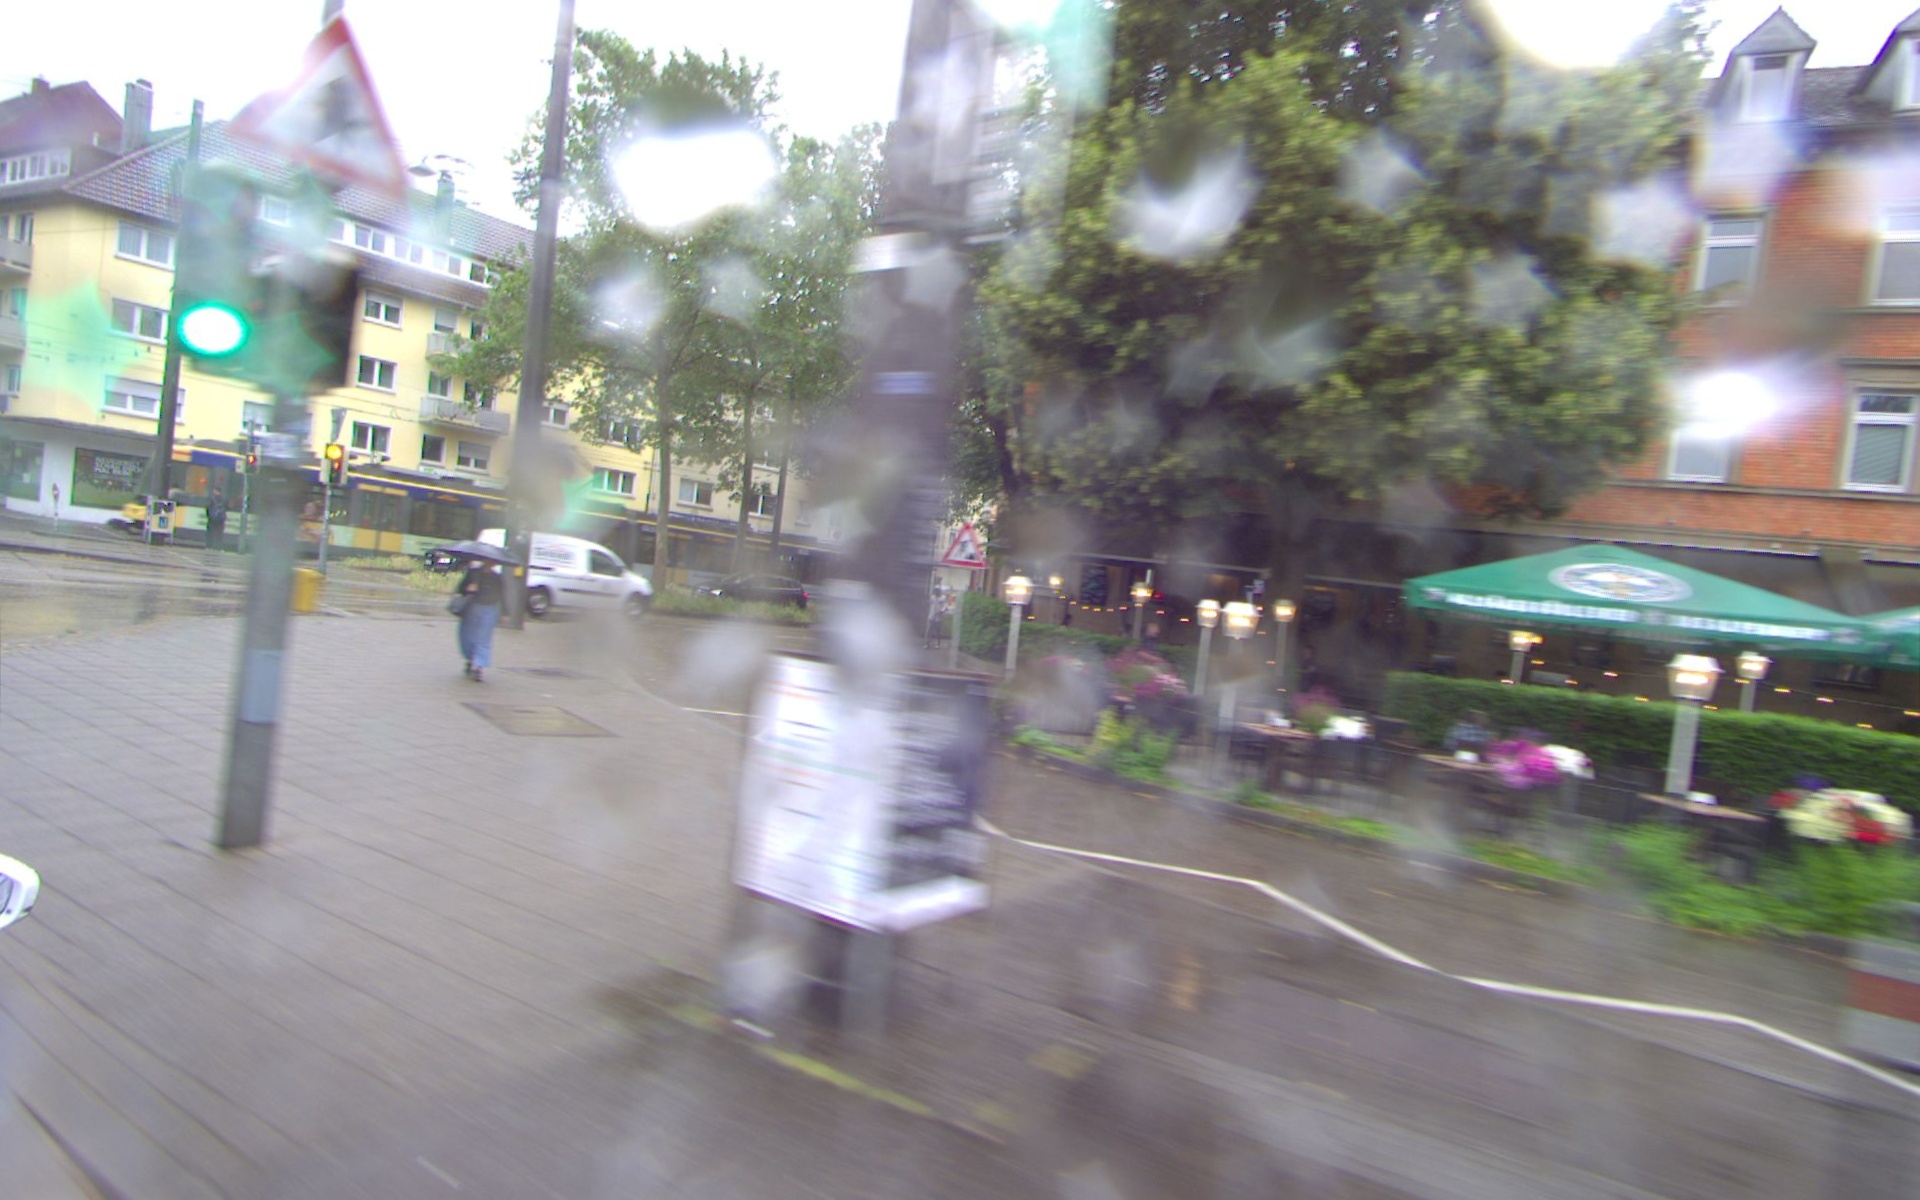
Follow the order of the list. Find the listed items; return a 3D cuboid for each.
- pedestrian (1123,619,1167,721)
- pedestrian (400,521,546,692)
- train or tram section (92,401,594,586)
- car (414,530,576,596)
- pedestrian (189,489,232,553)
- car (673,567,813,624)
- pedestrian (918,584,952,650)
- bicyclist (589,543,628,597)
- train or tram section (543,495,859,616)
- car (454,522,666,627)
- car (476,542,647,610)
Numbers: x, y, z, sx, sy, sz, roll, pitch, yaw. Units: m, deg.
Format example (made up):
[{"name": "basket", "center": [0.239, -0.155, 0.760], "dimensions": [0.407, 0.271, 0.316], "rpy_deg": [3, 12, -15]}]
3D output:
[{"name": "pedestrian", "center": [3.126, 1.168, 16.972], "dimensions": [0.382, 1.667, 0.549], "rpy_deg": [8, 3, 30]}, {"name": "pedestrian", "center": [-5.402, 0.069, 11.246], "dimensions": [1.088, 1.687, 0.995], "rpy_deg": [8, 1, -13]}, {"name": "train or tram section", "center": [-20.432, -3.242, 35.164], "dimensions": [3.071, 3.600, 14.523], "rpy_deg": [7, -1, 40]}, {"name": "car", "center": [-14.795, -1.146, 32.189], "dimensions": [1.851, 1.521, 4.267], "rpy_deg": [8, 1, 38]}, {"name": "pedestrian", "center": [-21.729, -2.286, 29.179], "dimensions": [0.807, 1.698, 1.007], "rpy_deg": [6, 1, -34]}, {"name": "car", "center": [-7.747, -0.126, 36.229], "dimensions": [1.837, 1.504, 4.614], "rpy_deg": [8, 1, 43]}, {"name": "pedestrian", "center": [-0.698, 0.461, 28.366], "dimensions": [0.555, 1.798, 1.204], "rpy_deg": [4, 2, 14]}, {"name": "bicyclist", "center": [-12.283, -1.057, 35.176], "dimensions": [0.704, 1.737, 0.886], "rpy_deg": [8, 0, 40]}, {"name": "train or tram section", "center": [-11.208, -1.776, 46.270], "dimensions": [3.072, 3.602, 14.605], "rpy_deg": [8, 0, 41]}, {"name": "car", "center": [-9.104, -0.515, 23.236], "dimensions": [1.878, 1.819, 4.107], "rpy_deg": [8, 0, 31]}, {"name": "car", "center": [-12.090, -0.701, 30.764], "dimensions": [1.716, 1.508, 4.476], "rpy_deg": [8, 1, 42]}]
